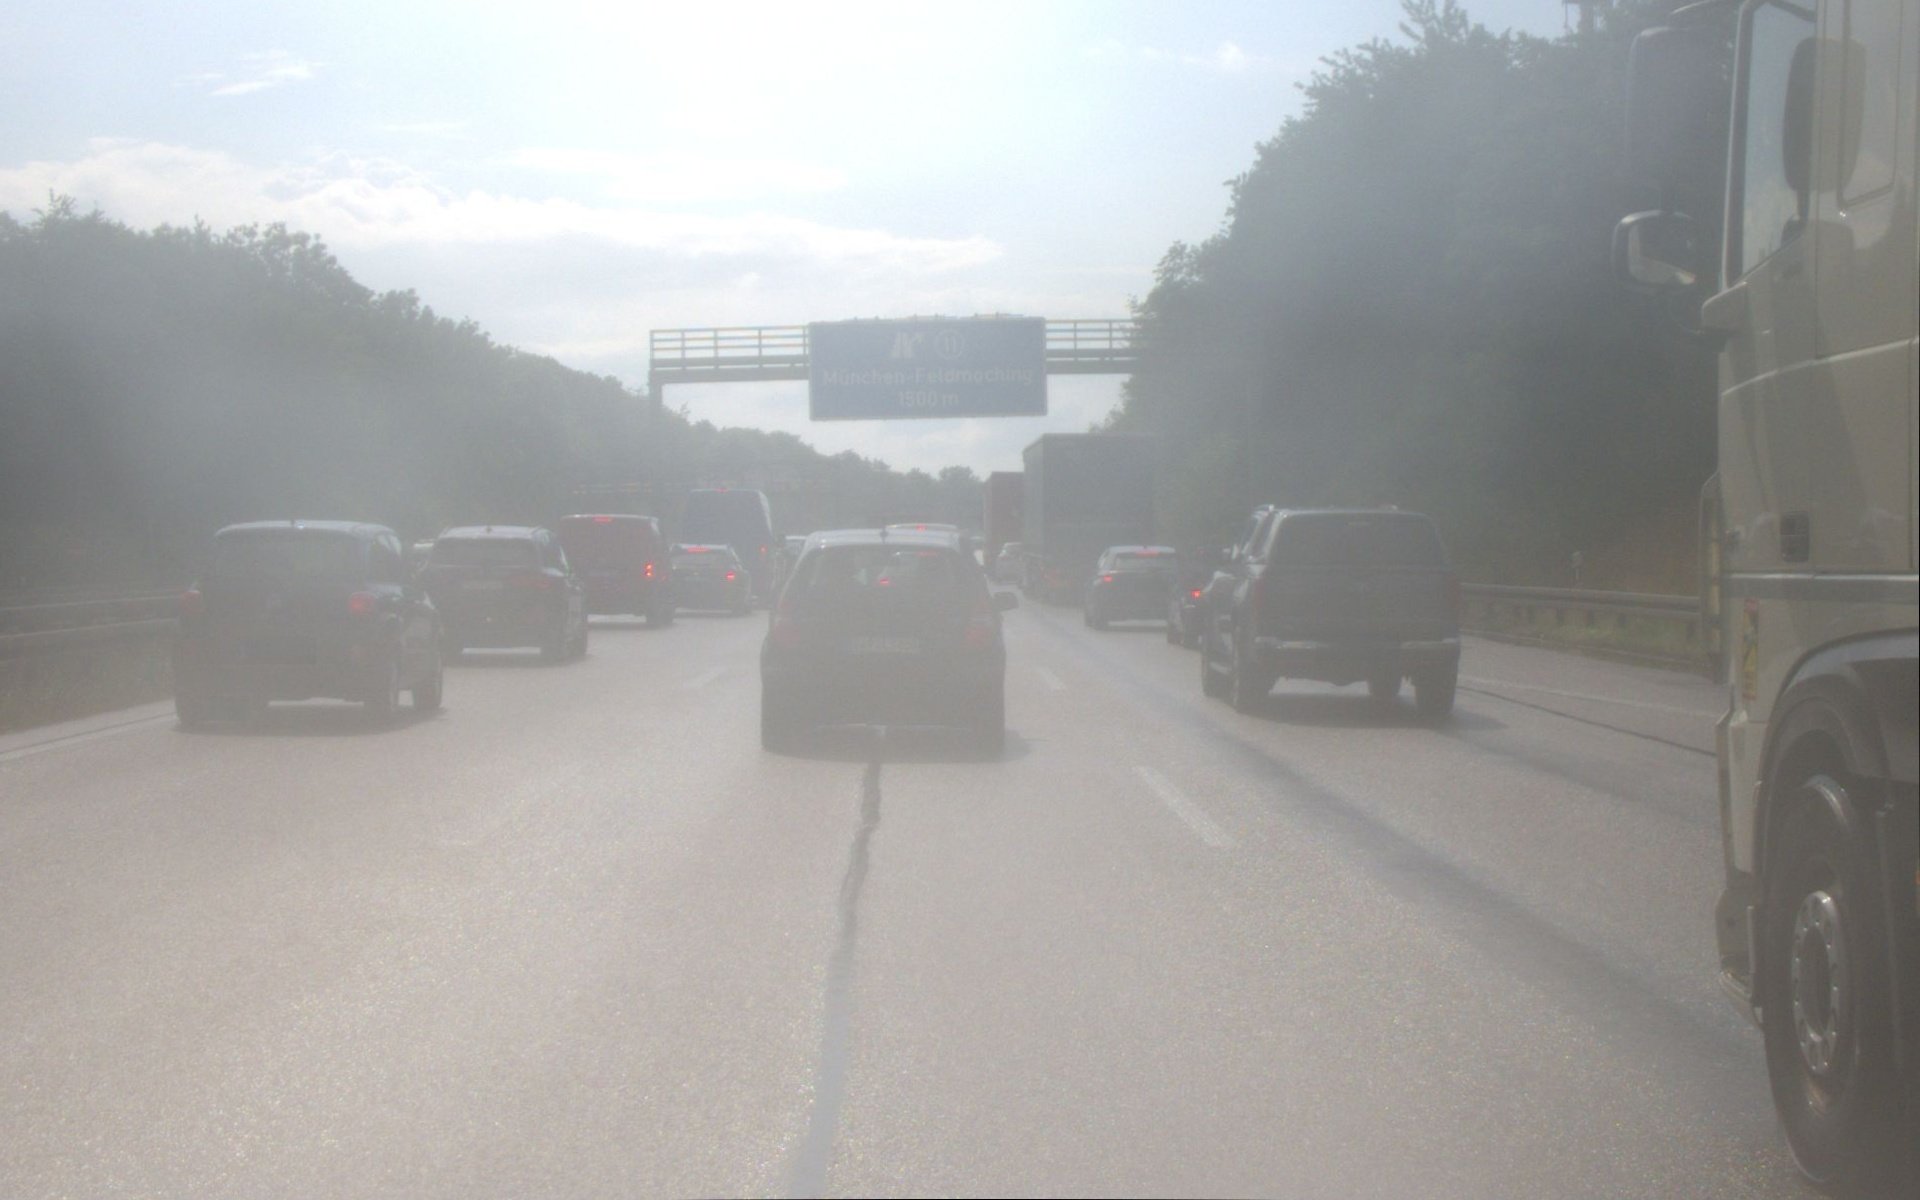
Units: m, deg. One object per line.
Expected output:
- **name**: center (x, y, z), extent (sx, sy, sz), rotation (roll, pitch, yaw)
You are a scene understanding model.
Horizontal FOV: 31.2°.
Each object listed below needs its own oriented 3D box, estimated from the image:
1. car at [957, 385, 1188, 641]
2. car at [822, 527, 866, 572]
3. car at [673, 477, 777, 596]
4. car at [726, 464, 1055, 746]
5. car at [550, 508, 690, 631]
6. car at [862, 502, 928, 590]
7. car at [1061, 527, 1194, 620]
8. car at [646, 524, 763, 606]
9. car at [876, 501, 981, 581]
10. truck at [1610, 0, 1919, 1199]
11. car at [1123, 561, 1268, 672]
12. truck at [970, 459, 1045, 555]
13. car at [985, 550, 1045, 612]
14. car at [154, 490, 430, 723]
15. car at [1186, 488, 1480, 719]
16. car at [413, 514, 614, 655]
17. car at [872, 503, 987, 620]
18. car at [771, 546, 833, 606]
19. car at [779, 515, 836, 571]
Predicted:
- **car**: center (2.583, -2.073, 87.156), extent (4.403, 5.810, 16.820), rotation (1, 1, -3)
- **car**: center (-5.582, -2.425, 165.950), extent (1.993, 2.108, 4.889), rotation (1, 1, 0)
- **car**: center (-5.322, -1.422, 78.426), extent (1.993, 2.606, 5.260), rotation (1, 1, 0)
- **car**: center (-0.575, 0.011, 26.383), extent (2.274, 1.948, 4.822), rotation (1, 1, -2)
- **car**: center (-5.912, -0.543, 60.283), extent (1.978, 2.047, 4.756), rotation (1, 1, 0)
- **car**: center (-2.069, -1.726, 110.701), extent (1.993, 2.737, 5.260), rotation (1, 1, 0)
- **car**: center (2.815, -0.460, 58.583), extent (1.864, 1.511, 3.976), rotation (1, 1, -3)
- **car**: center (-5.083, -0.708, 68.908), extent (1.993, 1.559, 4.756), rotation (1, 1, 0)
- **car**: center (-0.646, -1.139, 67.265), extent (1.864, 1.511, 3.976), rotation (1, 1, -3)
- **truck**: center (3.521, -0.562, 6.094), extent (3.284, 3.877, 6.397), rotation (1, 1, -2)
- **car**: center (3.314, 0.205, 48.978), extent (1.590, 1.511, 3.976), rotation (1, 1, -3)
- **truck**: center (1.822, -3.570, 133.907), extent (2.775, 3.619, 5.917), rotation (1, 1, 0)
- **car**: center (1.916, -0.672, 121.028), extent (1.993, 2.108, 4.889), rotation (1, 1, 0)
- **car**: center (-5.503, 0.028, 28.736), extent (1.692, 1.798, 3.976), rotation (1, 1, -3)
- **car**: center (3.306, -0.003, 31.561), extent (1.941, 1.912, 5.652), rotation (1, 1, -1)
- **car**: center (-5.530, -0.209, 43.117), extent (1.909, 1.631, 4.617), rotation (-1, 1, 0)
- **car**: center (-0.522, -0.614, 55.291), extent (1.692, 1.798, 3.976), rotation (1, 1, -3)
- **car**: center (-5.713, -0.879, 124.762), extent (1.993, 2.108, 4.889), rotation (1, 1, 0)
- **car**: center (-5.850, -2.179, 132.311), extent (1.993, 2.108, 4.889), rotation (1, 1, 0)
